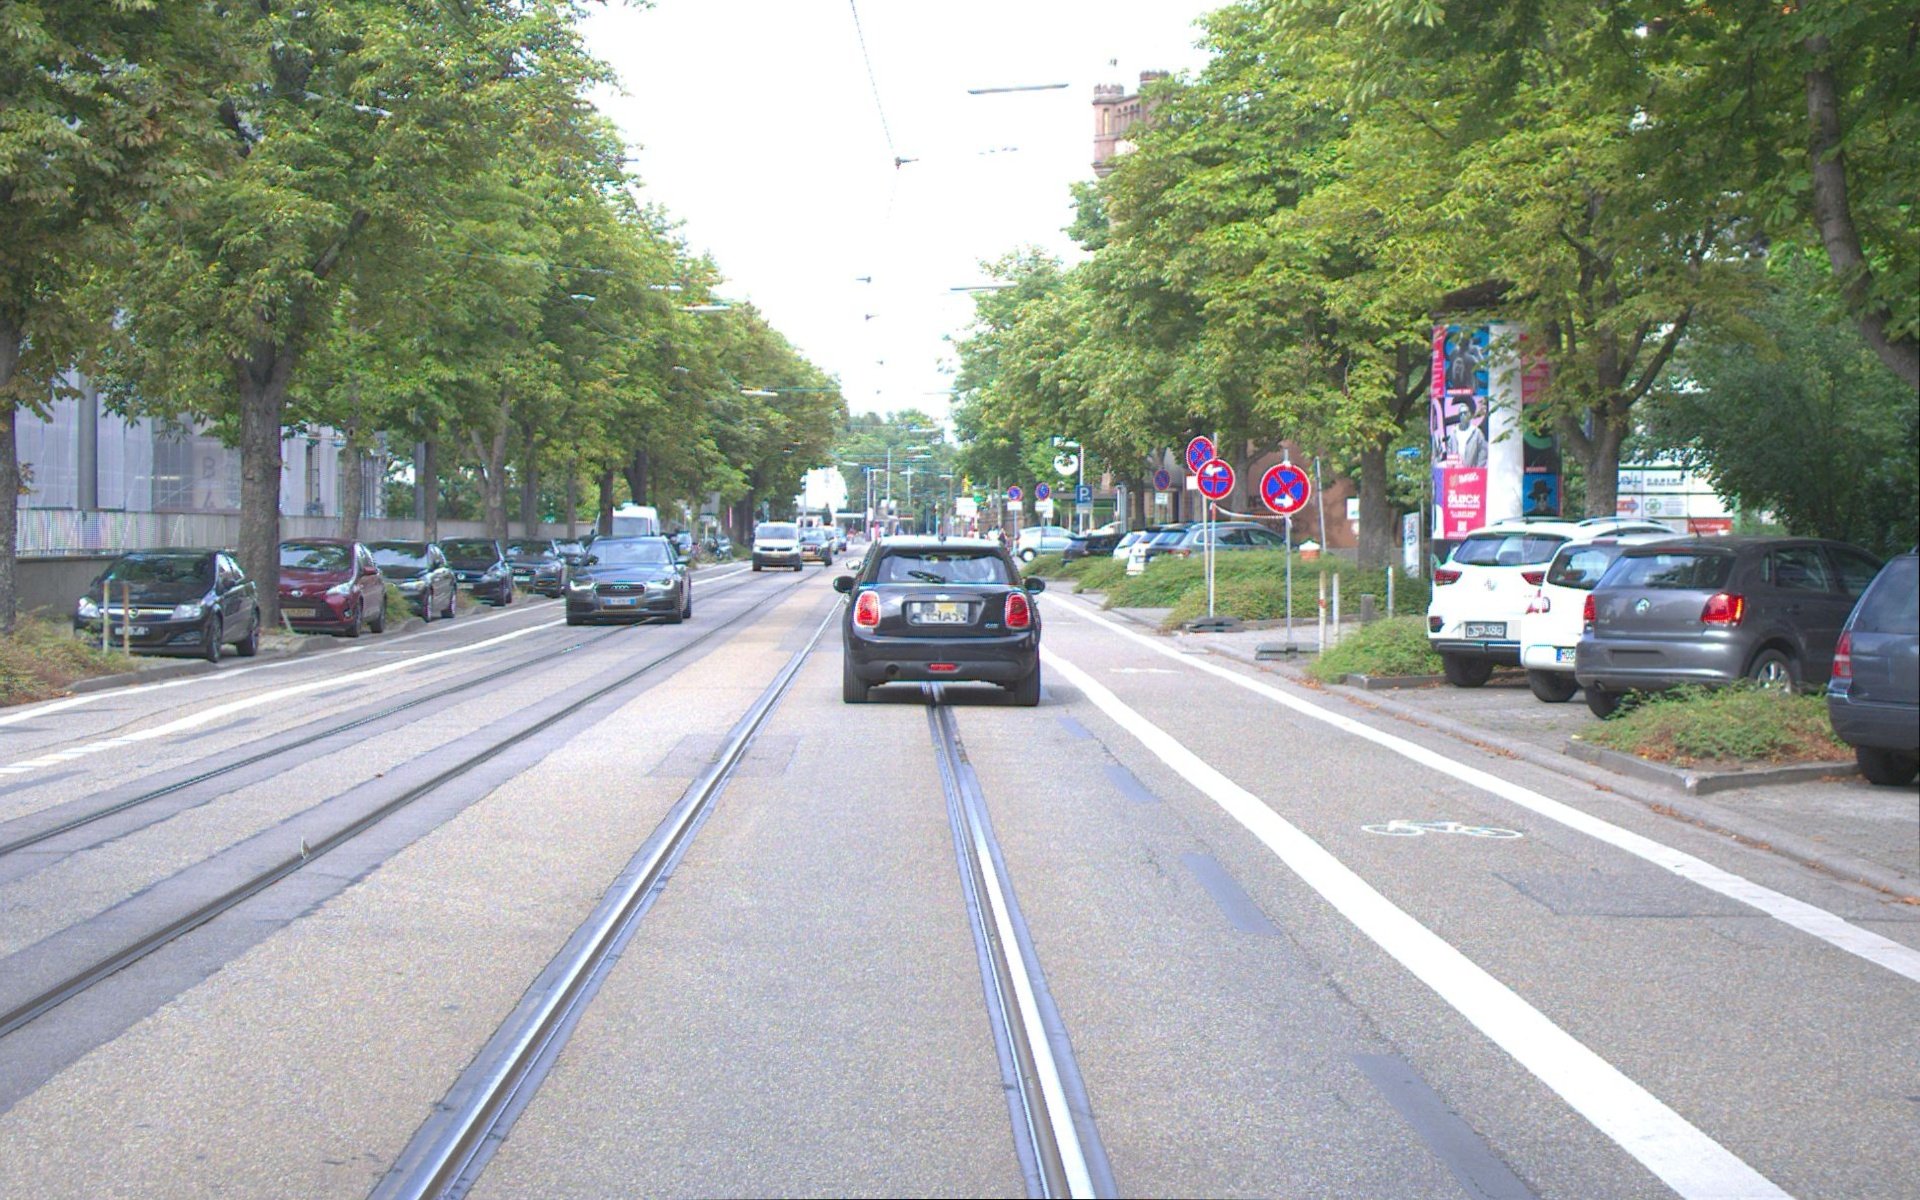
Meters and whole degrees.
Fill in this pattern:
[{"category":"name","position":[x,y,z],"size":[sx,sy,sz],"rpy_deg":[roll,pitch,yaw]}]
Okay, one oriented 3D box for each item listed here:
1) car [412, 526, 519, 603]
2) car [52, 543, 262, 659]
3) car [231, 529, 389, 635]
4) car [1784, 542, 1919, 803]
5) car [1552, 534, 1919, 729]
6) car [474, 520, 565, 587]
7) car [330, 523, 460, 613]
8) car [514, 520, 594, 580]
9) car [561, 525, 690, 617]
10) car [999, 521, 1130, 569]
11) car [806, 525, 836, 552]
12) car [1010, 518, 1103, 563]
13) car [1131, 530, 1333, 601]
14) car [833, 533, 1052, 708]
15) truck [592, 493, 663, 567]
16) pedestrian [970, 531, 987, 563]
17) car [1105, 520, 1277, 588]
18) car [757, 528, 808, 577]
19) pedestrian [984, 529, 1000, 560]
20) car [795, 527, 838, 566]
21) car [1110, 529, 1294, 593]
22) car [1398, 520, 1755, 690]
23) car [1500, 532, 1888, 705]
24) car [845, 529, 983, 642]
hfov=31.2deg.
[{"category":"car","position":[-10.501,-0.767,73.182],"size":[1.802,1.578,4.032],"rpy_deg":[-1,1,-2]},{"category":"car","position":[-10.050,-0.022,43.295],"size":[1.802,1.369,4.032],"rpy_deg":[-1,1,-2]},{"category":"car","position":[-10.101,-0.307,53.686],"size":[1.802,1.578,4.032],"rpy_deg":[-1,1,-2]},{"category":"car","position":[6.658,0.409,20.641],"size":[1.639,1.453,3.730],"rpy_deg":[2,1,44]},{"category":"car","position":[6.507,0.215,27.368],"size":[3.525,1.437,1.623],"rpy_deg":[0,2,-40]},{"category":"car","position":[-10.649,-1.136,83.337],"size":[1.802,1.578,4.032],"rpy_deg":[-1,1,-2]},{"category":"car","position":[-10.242,-0.603,62.552],"size":[1.802,1.578,4.032],"rpy_deg":[-1,1,-2]},{"category":"car","position":[-10.876,-1.354,92.312],"size":[1.802,1.578,4.032],"rpy_deg":[-1,1,-2]},{"category":"car","position":[-5.532,-0.516,57.317],"size":[1.834,1.443,4.554],"rpy_deg":[1,1,-2]},{"category":"car","position":[3.336,-1.766,110.115],"size":[3.986,1.503,1.885],"rpy_deg":[1,1,-4]},{"category":"car","position":[-8.719,-3.866,216.129],"size":[1.802,1.616,4.485],"rpy_deg":[-1,1,-2]},{"category":"car","position":[4.377,-2.712,156.315],"size":[3.986,1.904,2.000],"rpy_deg":[1,1,-4]},{"category":"car","position":[5.690,-0.737,72.216],"size":[3.986,1.420,1.885],"rpy_deg":[1,1,-4]},{"category":"car","position":[-0.207,0.132,30.704],"size":[1.793,1.418,4.001],"rpy_deg":[1,1,-2]},{"category":"truck","position":[-11.283,-2.381,116.958],"size":[2.071,2.462,4.899],"rpy_deg":[-1,1,-2]},{"category":"pedestrian","position":[0.954,-2.725,178.001],"size":[0.726,1.640,0.766],"rpy_deg":[2,1,9]},{"category":"car","position":[5.666,-1.141,84.519],"size":[3.986,1.622,1.885],"rpy_deg":[1,1,-4]},{"category":"car","position":[-6.649,-1.793,129.115],"size":[1.802,1.817,4.485],"rpy_deg":[-1,1,-2]},{"category":"pedestrian","position":[1.703,-2.982,183.289],"size":[0.726,1.640,0.766],"rpy_deg":[2,1,9]},{"category":"car","position":[-6.193,-2.327,148.517],"size":[1.802,1.616,4.485],"rpy_deg":[-1,1,-2]},{"category":"car","position":[5.548,-0.910,79.115],"size":[3.986,1.420,1.885],"rpy_deg":[1,1,-4]},{"category":"car","position":[6.041,0.020,33.539],"size":[3.437,1.567,1.560],"rpy_deg":[0,2,-40]},{"category":"car","position":[6.544,0.137,30.516],"size":[3.437,1.437,1.560],"rpy_deg":[0,2,-40]},{"category":"car","position":[-0.698,-0.238,48.925],"size":[1.793,1.465,4.001],"rpy_deg":[2,1,-2]}]
